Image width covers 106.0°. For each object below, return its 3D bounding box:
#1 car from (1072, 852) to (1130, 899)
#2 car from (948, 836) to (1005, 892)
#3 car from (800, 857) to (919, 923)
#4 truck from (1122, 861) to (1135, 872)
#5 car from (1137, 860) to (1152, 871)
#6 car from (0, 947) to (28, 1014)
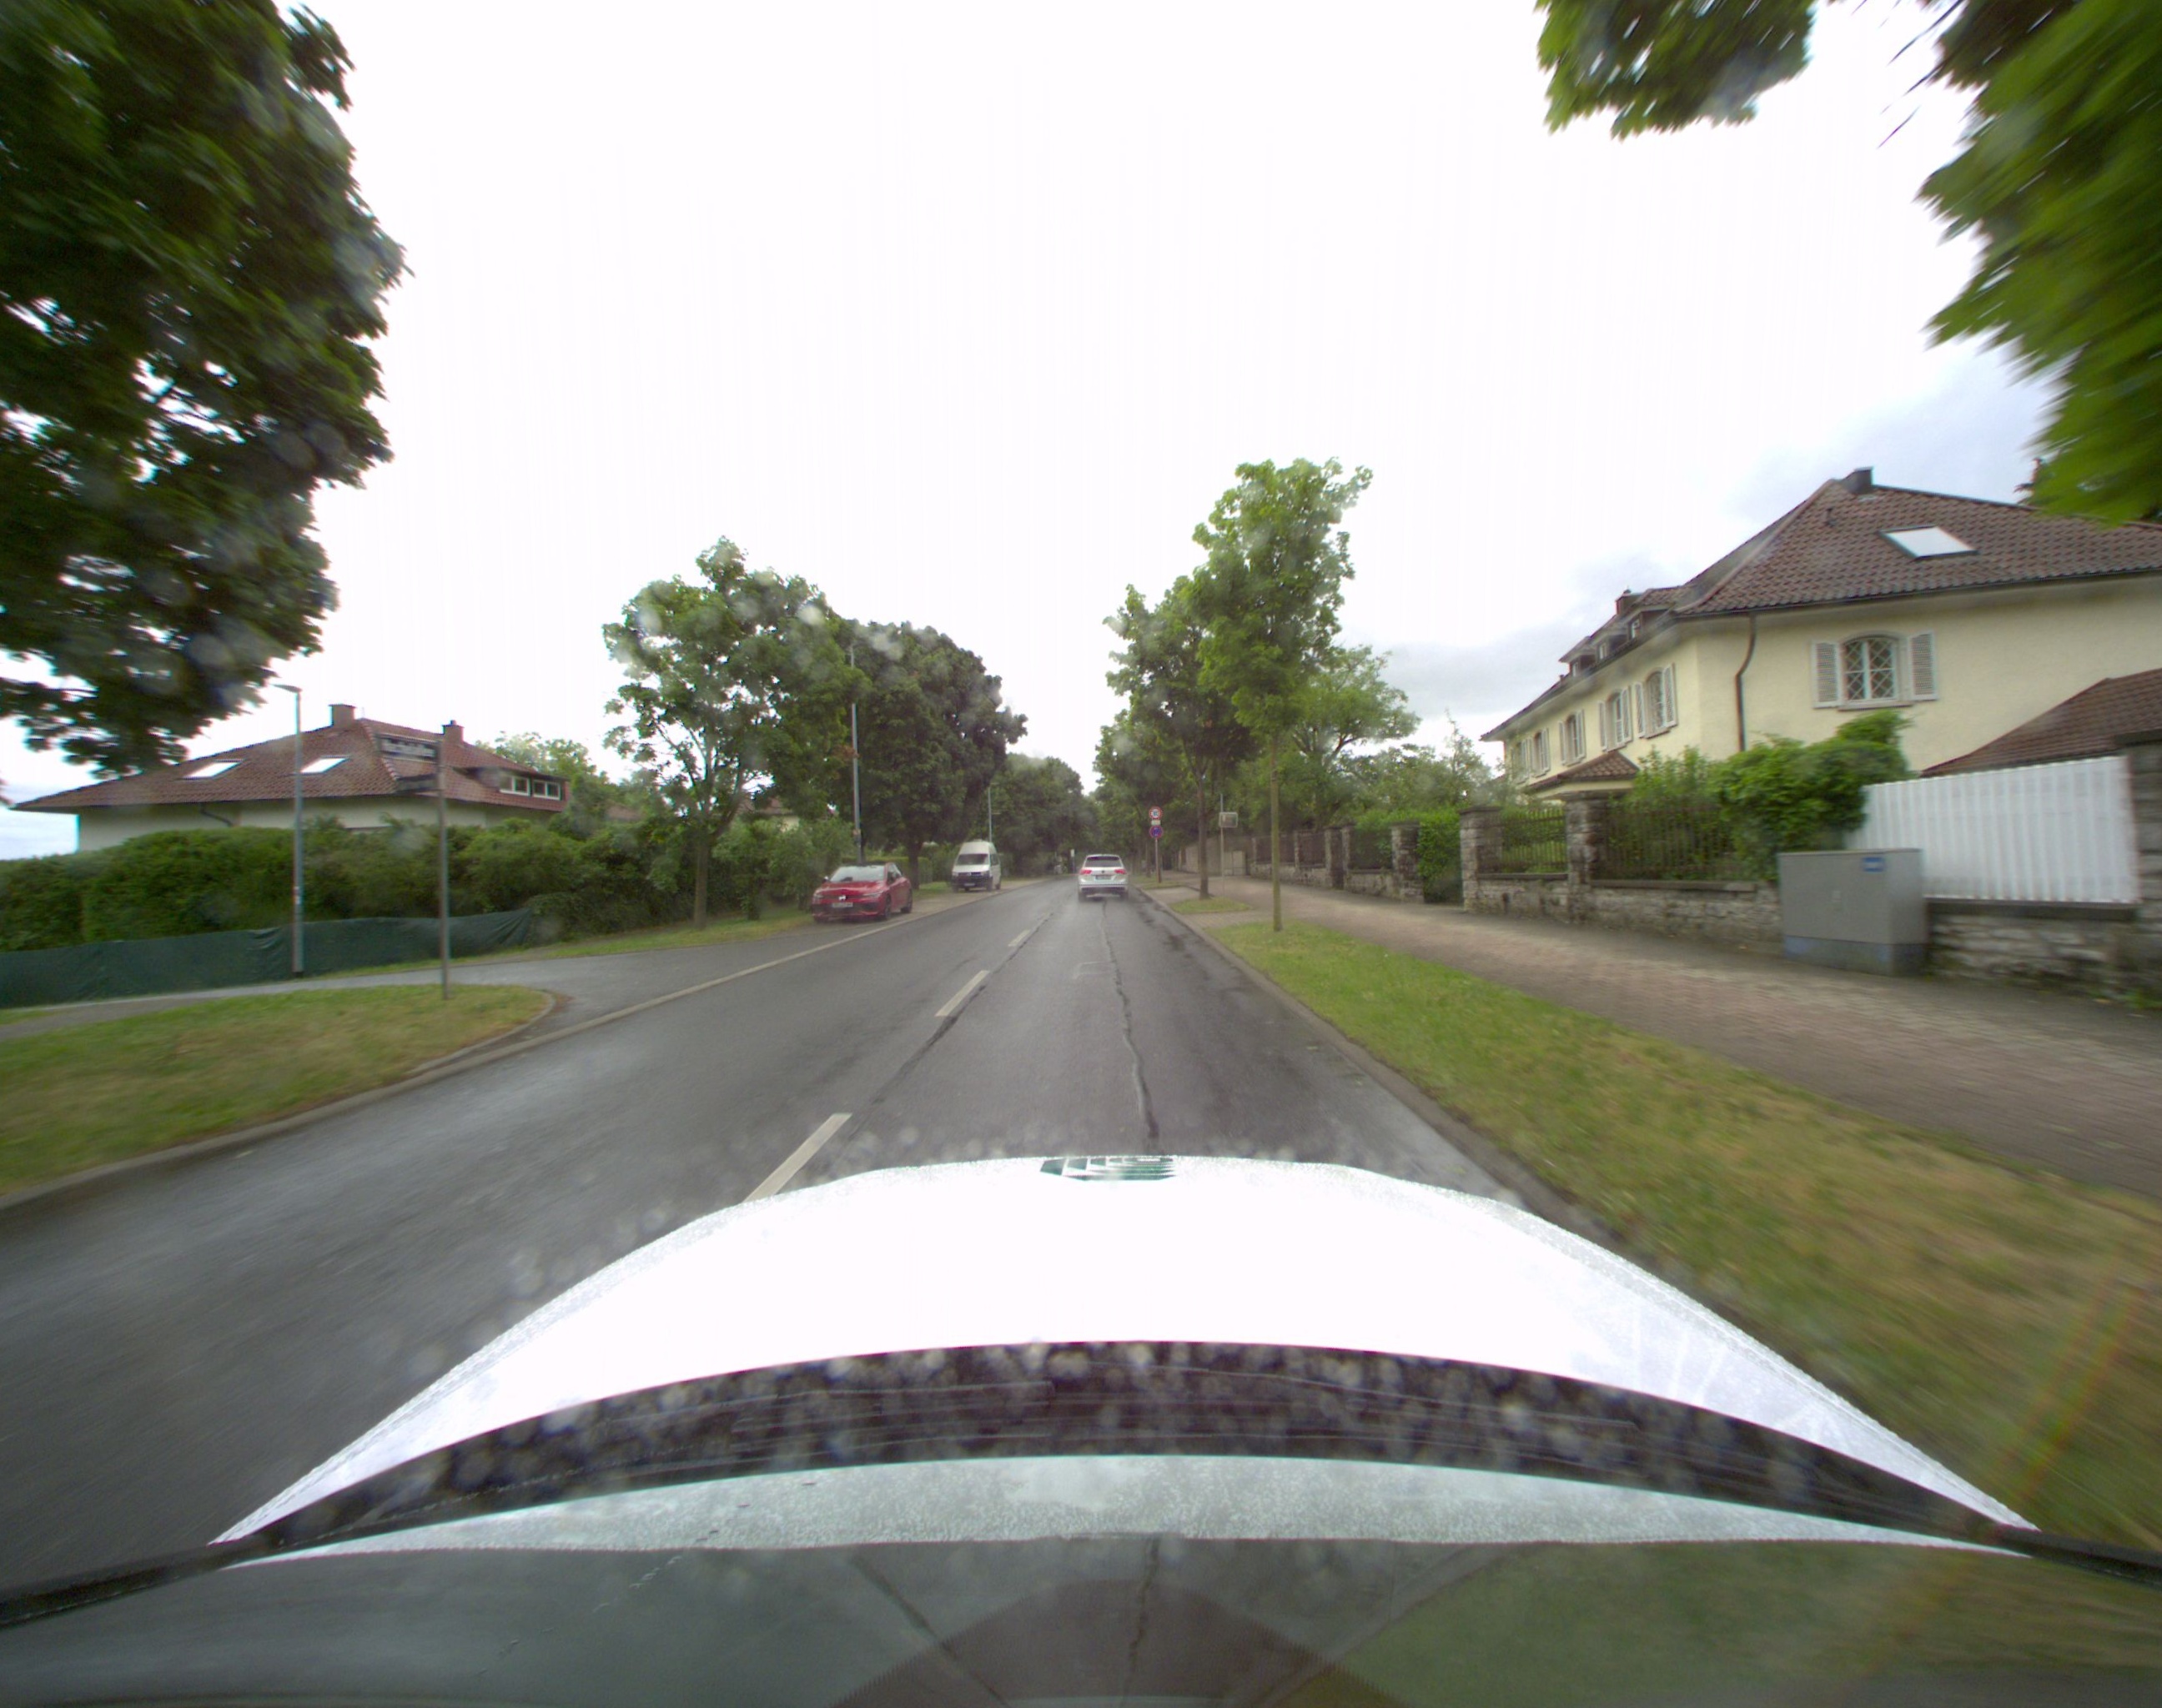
[{"bbox_3d":[0.762,0.762,30.452,1.989,1.632,4.001,-1,0,1],"label":"car"},{"bbox_3d":[-5.109,0.473,40.479,1.987,2.561,5.233,-2,0,1],"label":"car"},{"bbox_3d":[-5.574,0.838,21.030,1.837,1.466,4.249,-2,0,0],"label":"car"},{"bbox_3d":[11.272,2.995,193.077,2.270,2.597,5.890,-3,-2,10],"label":"truck"},{"bbox_3d":[9.449,1.720,120.885,1.829,1.487,4.011,-4,-2,10],"label":"car"},{"bbox_3d":[-25.035,2.969,17.098,3.521,1.364,1.818,-6,4,5],"label":"car"}]
